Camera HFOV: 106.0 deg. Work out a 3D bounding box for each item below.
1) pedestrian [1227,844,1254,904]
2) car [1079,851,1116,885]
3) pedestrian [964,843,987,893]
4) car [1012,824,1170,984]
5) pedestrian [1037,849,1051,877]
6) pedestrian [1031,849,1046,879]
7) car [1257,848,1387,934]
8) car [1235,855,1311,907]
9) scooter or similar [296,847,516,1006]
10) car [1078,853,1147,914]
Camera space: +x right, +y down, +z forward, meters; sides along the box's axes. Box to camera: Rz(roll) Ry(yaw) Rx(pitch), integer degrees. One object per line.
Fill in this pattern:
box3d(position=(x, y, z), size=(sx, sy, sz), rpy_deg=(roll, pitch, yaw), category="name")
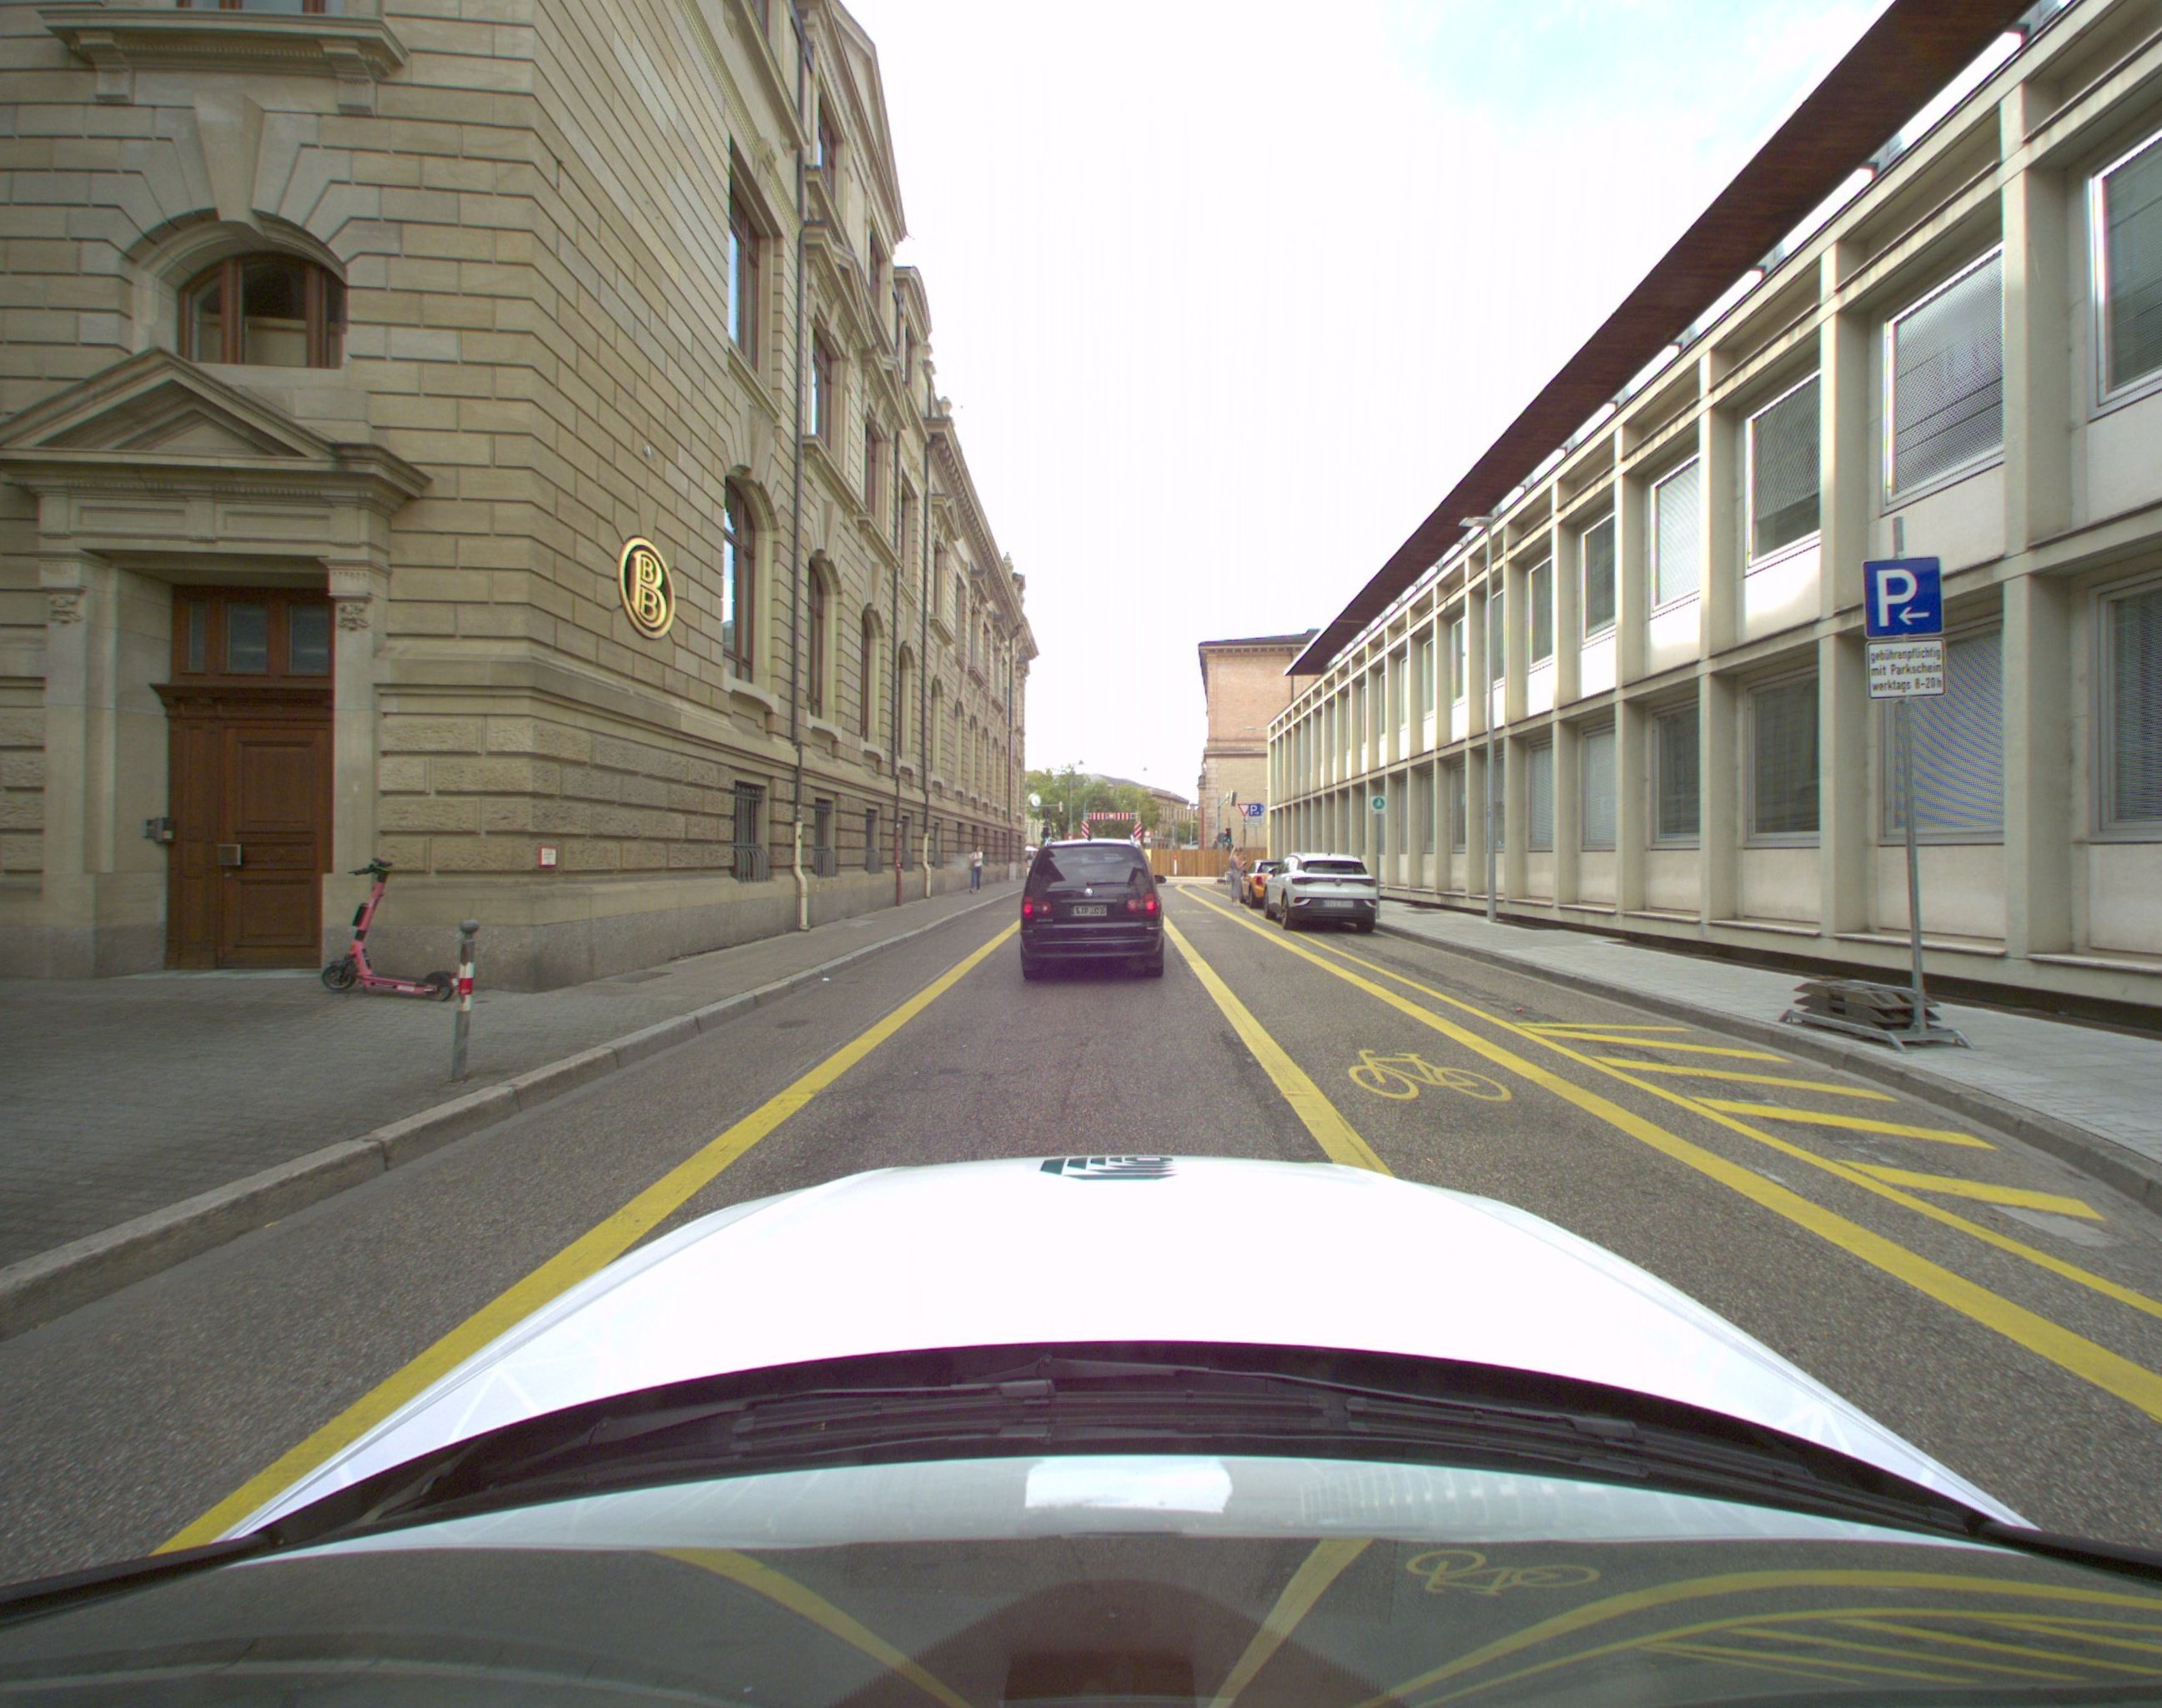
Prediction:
box3d(position=(4.793, 0.588, 24.452), size=(0.695, 1.764, 0.706), rpy_deg=(0, -1, 3), category="pedestrian")
box3d(position=(0.835, 0.696, 40.237), size=(1.766, 1.586, 4.001), rpy_deg=(0, -1, 2), category="car")
box3d(position=(-3.909, 0.507, 30.209), size=(0.661, 1.819, 1.048), rpy_deg=(2, -1, 2), category="pedestrian")
box3d(position=(0.278, 0.588, 11.332), size=(1.781, 1.790, 4.108), rpy_deg=(-1, -1, 5), category="car")
box3d(position=(-2.398, 0.603, 53.290), size=(0.789, 1.819, 1.048), rpy_deg=(2, -1, 2), category="pedestrian")
box3d(position=(-2.641, 0.602, 50.236), size=(0.789, 1.819, 1.048), rpy_deg=(2, -1, 2), category="pedestrian")
box3d(position=(5.229, 0.745, 18.290), size=(1.851, 1.605, 4.517), rpy_deg=(3, 0, 5), category="car")
box3d(position=(5.780, 0.787, 24.917), size=(1.672, 1.435, 3.891), rpy_deg=(-1, -1, 5), category="car")
box3d(position=(-6.098, 0.630, 7.404), size=(1.441, 1.310, 0.587), rpy_deg=(3, 1, 0), category="scooter or similar")
box3d(position=(0.922, 0.726, 21.776), size=(1.670, 1.469, 4.108), rpy_deg=(0, 0, 5), category="car")
